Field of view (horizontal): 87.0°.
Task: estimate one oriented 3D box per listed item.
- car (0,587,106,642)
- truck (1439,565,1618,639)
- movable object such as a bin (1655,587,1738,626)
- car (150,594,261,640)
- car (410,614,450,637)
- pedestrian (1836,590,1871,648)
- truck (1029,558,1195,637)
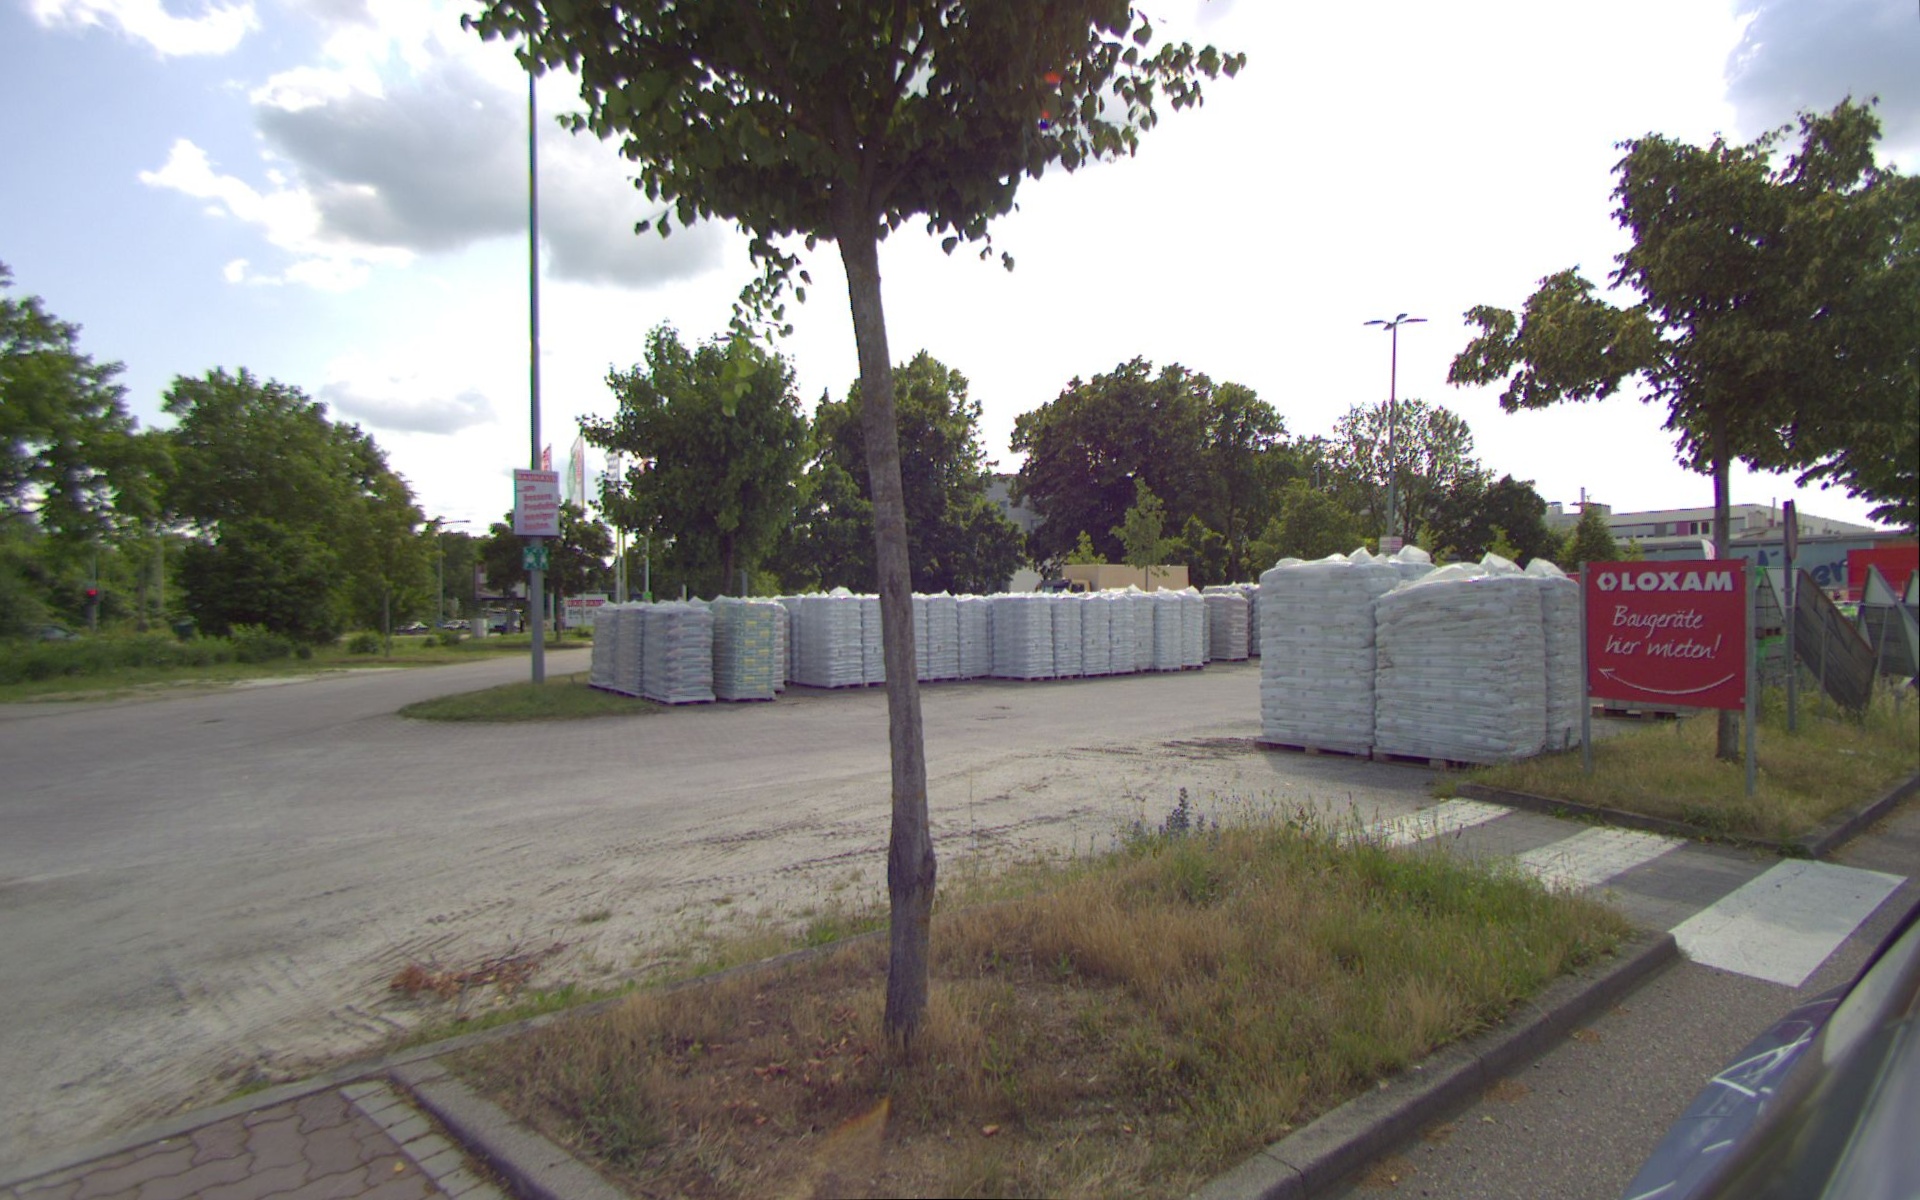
[{"bbox_3d":[-45.164,0.705,50.410,1.702,2.575,4.156,-3,0,0],"label":"car"},{"bbox_3d":[21.010,0.096,37.641,2.079,2.547,5.436,1,-1,-41],"label":"truck"},{"bbox_3d":[36.046,0.333,49.553,1.364,1.867,3.010,1,-1,-38],"label":"movable object such as a bin"},{"bbox_3d":[-39.702,0.855,53.487,2.204,2.038,5.400,-3,2,-6],"label":"car"},{"bbox_3d":[-50.402,2.420,96.366,1.960,2.039,4.003,-1,0,-4],"label":"car"},{"bbox_3d":[26.811,0.553,30.365,0.863,1.713,0.600,-1,0,-37],"label":"pedestrian"},{"bbox_3d":[7.672,-0.101,50.253,8.869,3.644,2.729,0,0,-37],"label":"truck"}]
